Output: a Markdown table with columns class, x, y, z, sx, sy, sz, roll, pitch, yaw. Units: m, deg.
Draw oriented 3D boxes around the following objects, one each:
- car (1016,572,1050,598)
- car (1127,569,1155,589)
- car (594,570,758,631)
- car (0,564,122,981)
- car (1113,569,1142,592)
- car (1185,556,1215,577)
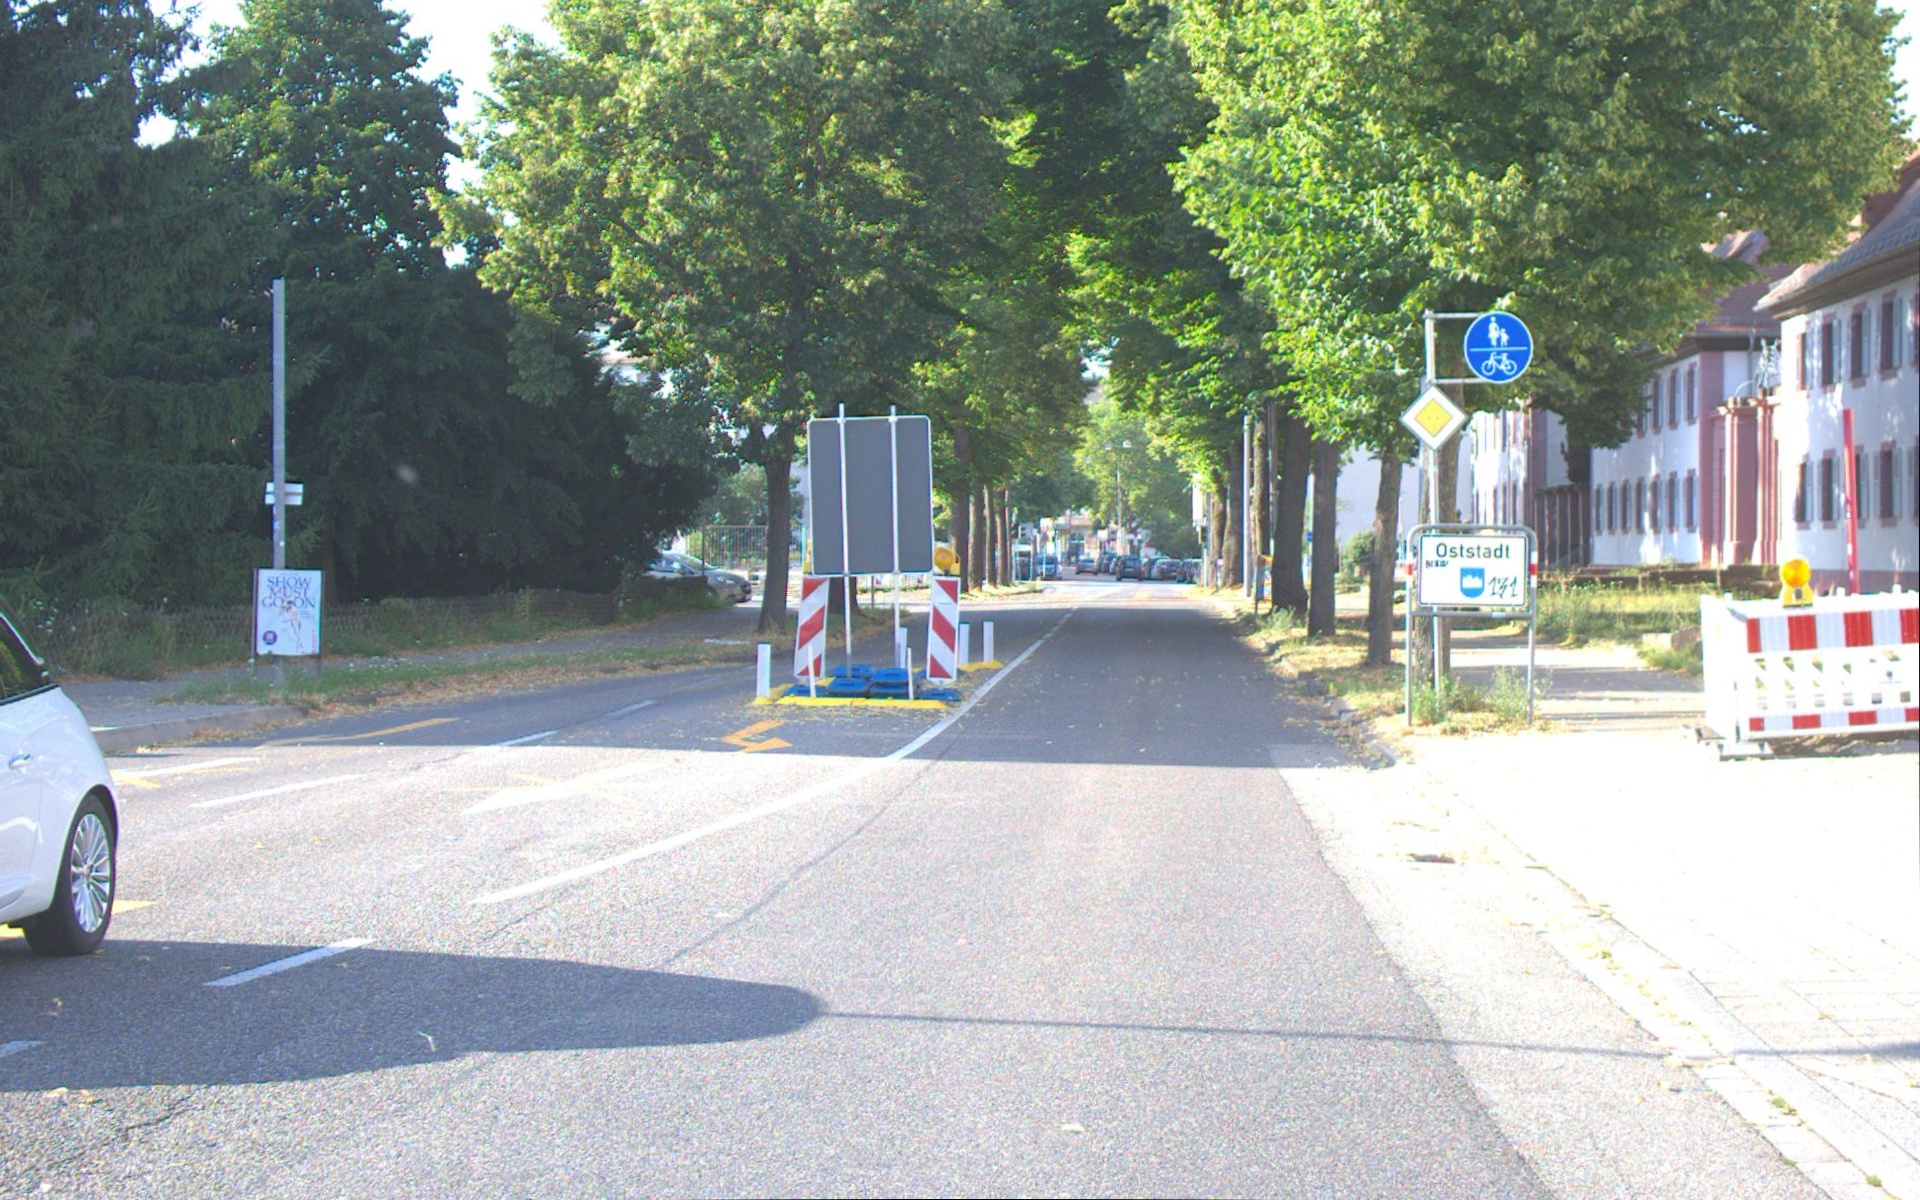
| class | x | y | z | sx | sy | sz | roll | pitch | yaw |
| --- | --- | --- | --- | --- | --- | --- | --- | --- | --- |
| car | 4.775 | -0.958 | 225.781 | 1.993 | 1.682 | 4.000 | 0 | 0 | -3 |
| car | 13.105 | -1.499 | 249.026 | 1.841 | 1.381 | 4.000 | 0 | 0 | 0 |
| car | -7.104 | 0.004 | 86.201 | 3.844 | 1.468 | 1.651 | 1 | 1 | 5 |
| car | -4.165 | 0.590 | 11.286 | 1.759 | 1.416 | 3.624 | 0 | 1 | 3 |
| car | 11.384 | -1.329 | 233.291 | 1.714 | 1.481 | 4.000 | -1 | 0 | 0 |
| car | 14.888 | -2.092 | 213.413 | 1.841 | 1.256 | 4.000 | 0 | 1 | 4 |
